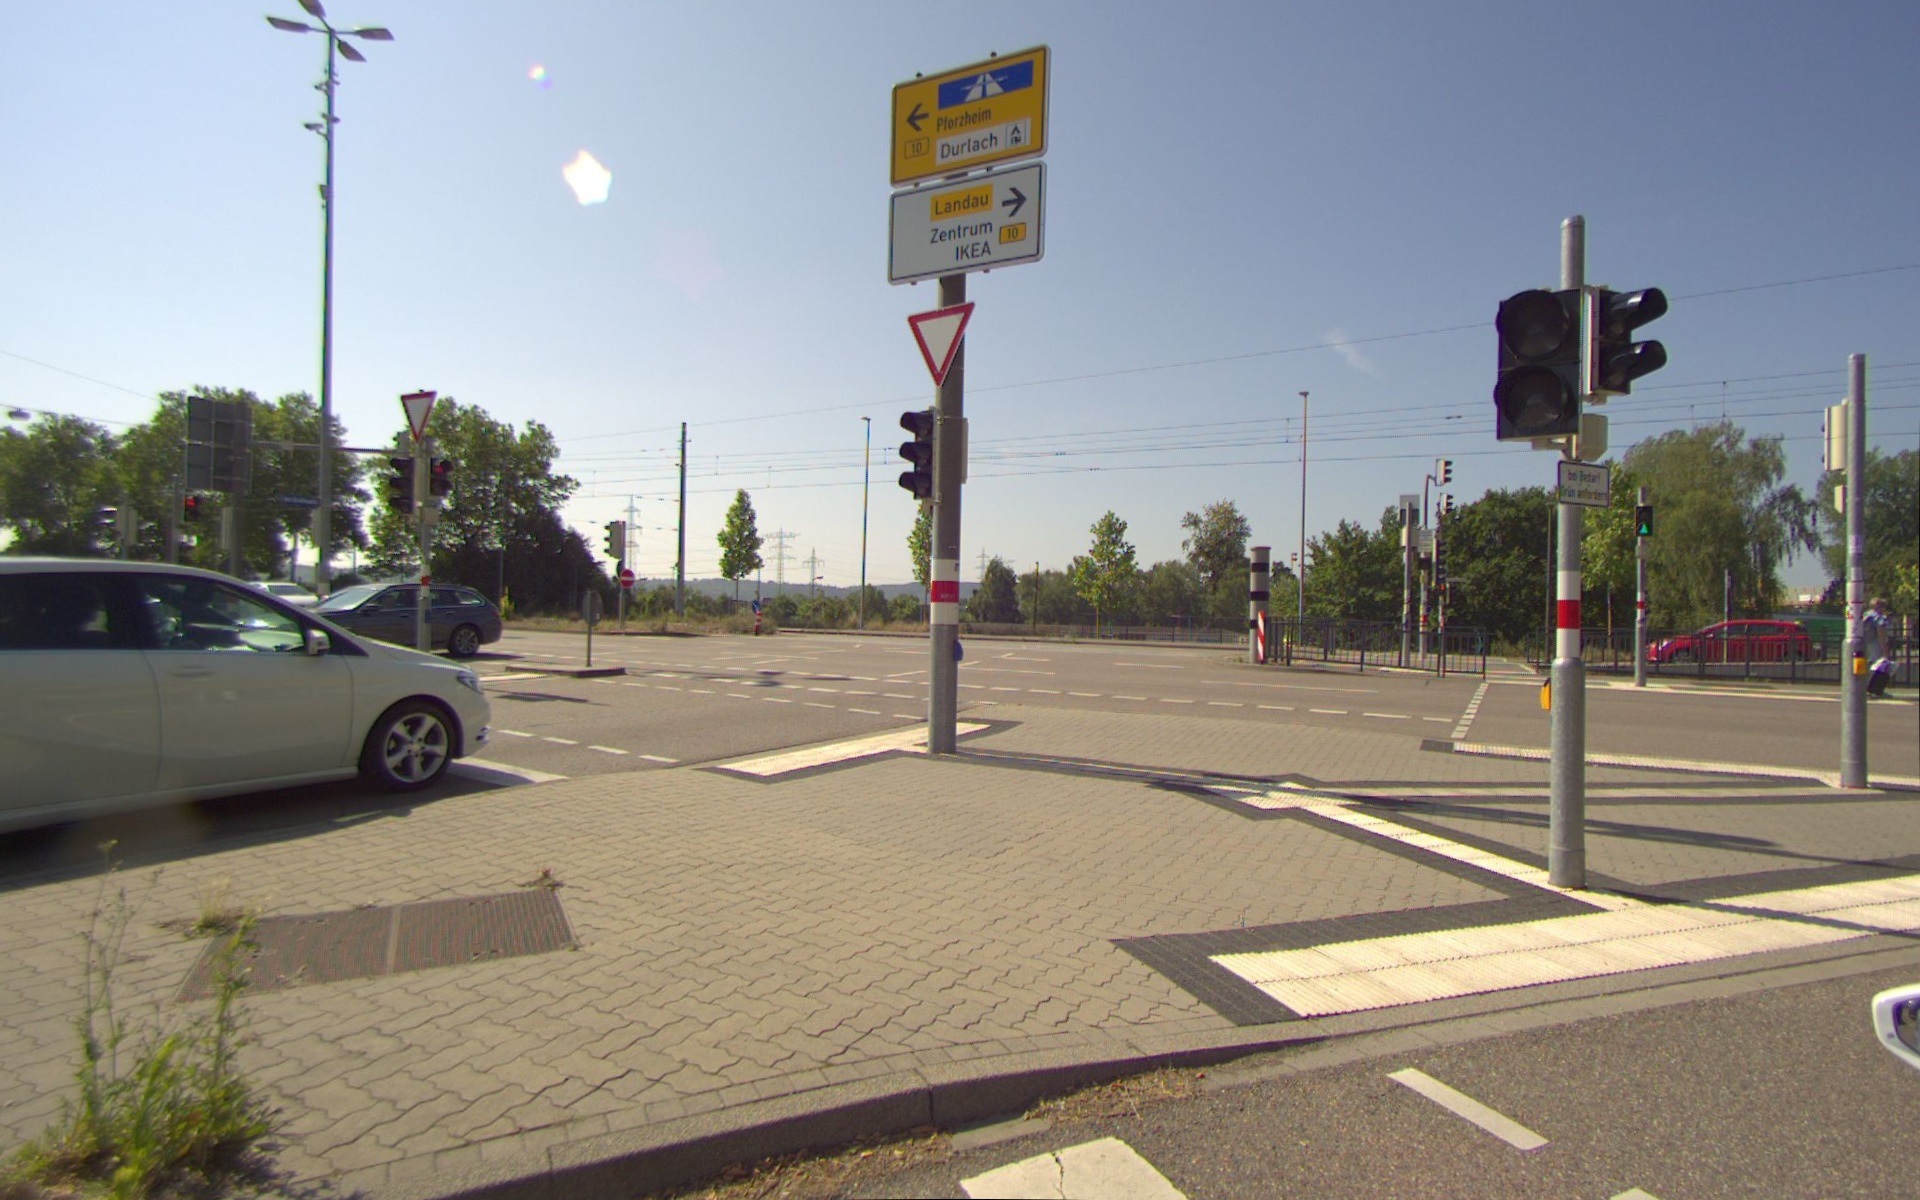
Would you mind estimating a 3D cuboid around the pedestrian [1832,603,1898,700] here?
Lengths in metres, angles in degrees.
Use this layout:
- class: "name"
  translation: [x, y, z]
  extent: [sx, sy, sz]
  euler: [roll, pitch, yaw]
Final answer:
- class: "pedestrian"
  translation: [14.919, 0.827, 16.582]
  extent: [0.764, 1.531, 1.002]
  euler: [0, 1, 40]

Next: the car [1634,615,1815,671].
- class: "car"
  translation: [22.151, 1.197, 29.309]
  extent: [3.926, 1.464, 1.744]
  euler: [1, 0, 27]

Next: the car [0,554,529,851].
- class: "car"
  translation: [-5.086, 0.499, 6.149]
  extent: [1.715, 1.467, 4.383]
  euler: [2, 0, 28]

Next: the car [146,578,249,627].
- class: "car"
  translation: [-25.655, 0.081, 33.778]
  extent: [3.334, 1.519, 1.408]
  euler: [1, -2, 27]

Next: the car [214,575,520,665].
- class: "car"
  translation: [-11.328, 0.350, 19.606]
  extent: [2.028, 1.523, 4.807]
  euler: [1, 0, 28]

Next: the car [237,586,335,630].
- class: "car"
  translation: [-24.533, 0.292, 36.562]
  extent: [3.291, 1.519, 1.409]
  euler: [1, -2, 25]
